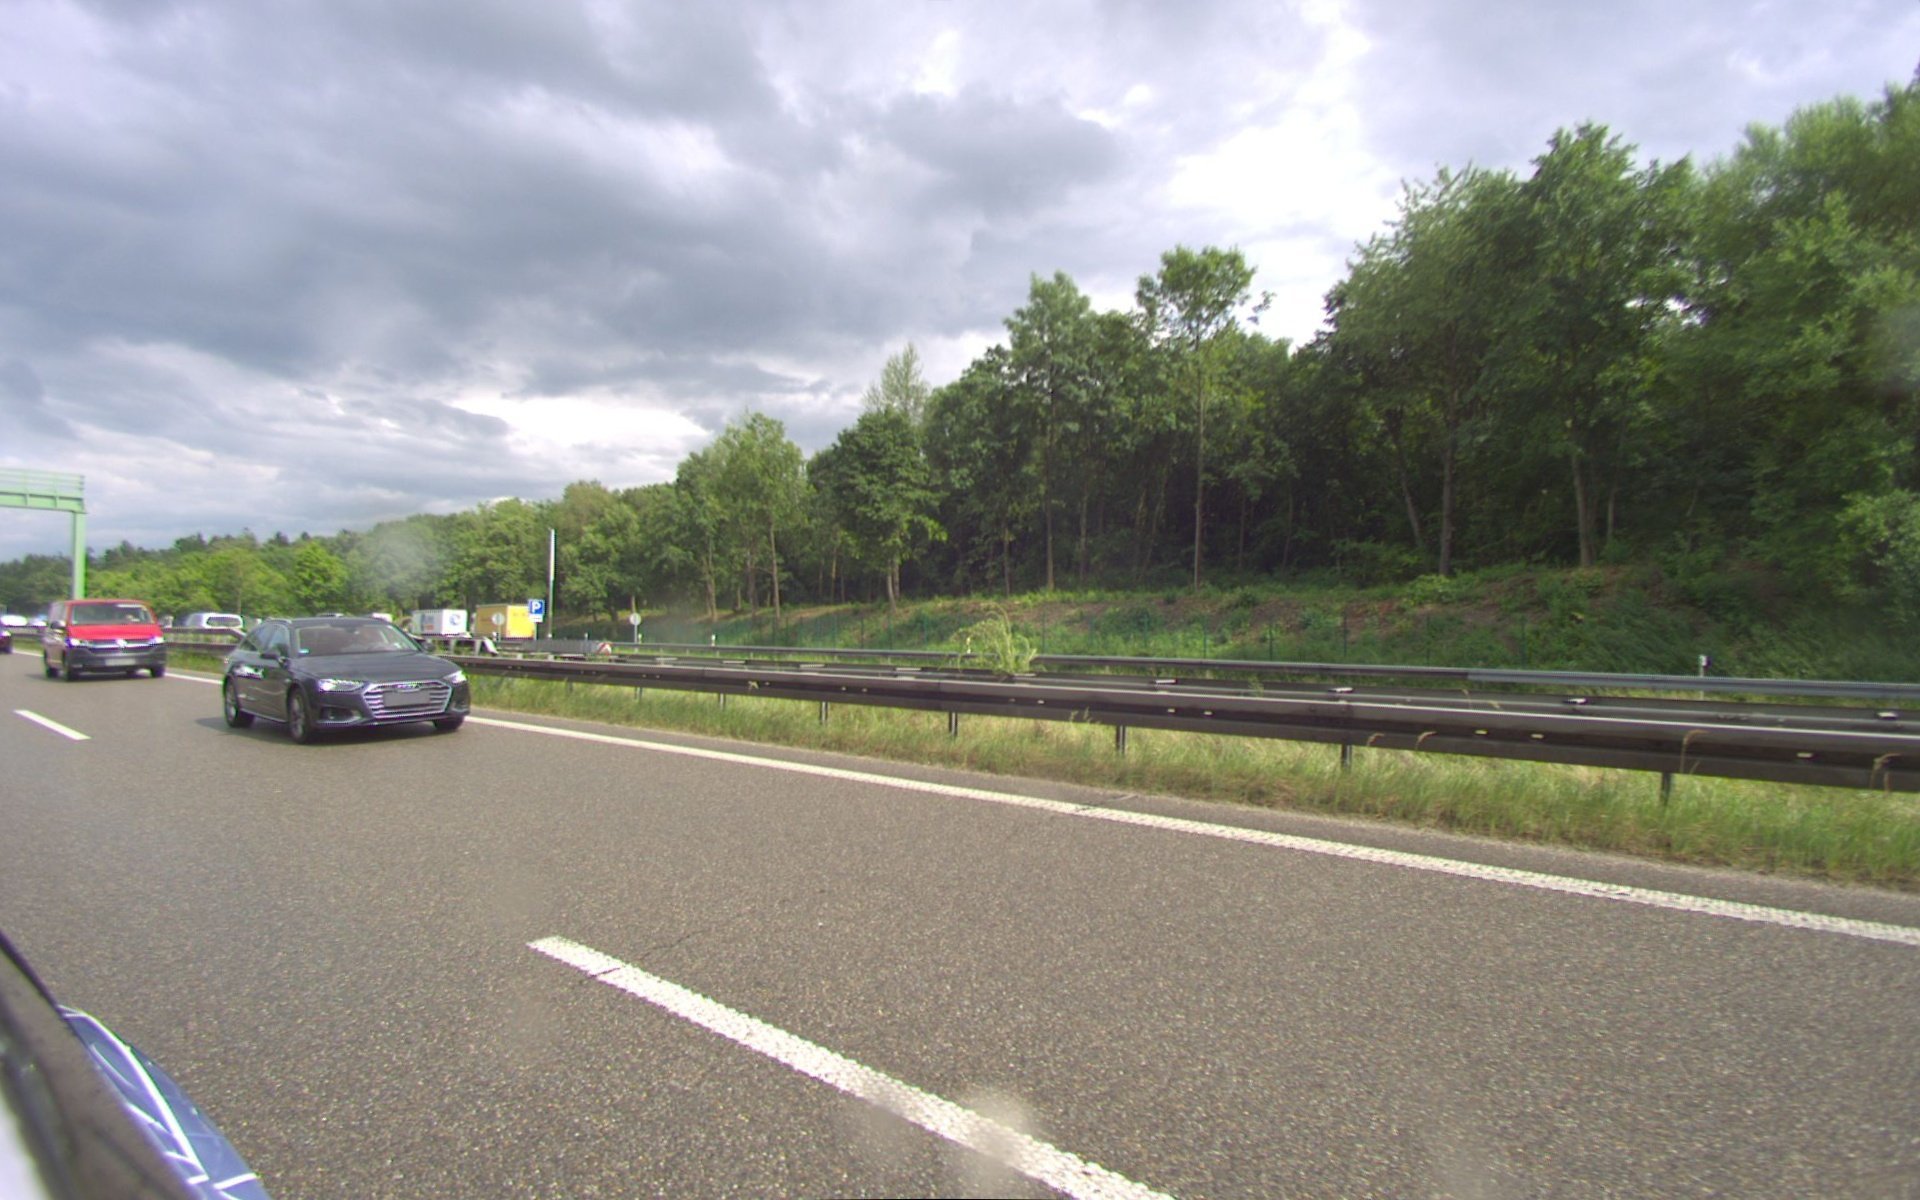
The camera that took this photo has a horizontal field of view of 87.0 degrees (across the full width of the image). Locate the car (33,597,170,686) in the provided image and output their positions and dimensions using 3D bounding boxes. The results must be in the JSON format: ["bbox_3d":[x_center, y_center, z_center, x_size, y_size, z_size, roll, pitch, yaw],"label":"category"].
[{"bbox_3d":[-21.236,0.975,24.960,4.747,2.000,1.871,-2,-1,41],"label":"car"}]

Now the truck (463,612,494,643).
[{"bbox_3d":[-50.534,2.850,106.173,1.950,3.121,5.087,-1,0,-37],"label":"truck"}]

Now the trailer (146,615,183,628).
[{"bbox_3d":[-164.432,4.433,209.154,9.839,2.594,2.511,-1,-1,30],"label":"trailer"}]

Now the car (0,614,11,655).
[{"bbox_3d":[-41.487,1.439,42.552,4.292,1.682,1.871,-1,-1,41],"label":"car"}]

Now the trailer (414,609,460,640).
[{"bbox_3d":[-64.036,2.998,123.812,2.156,3.627,11.734,2,-2,-41],"label":"trailer"}]

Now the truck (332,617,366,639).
[{"bbox_3d":[-92.641,4.232,153.469,5.596,3.208,3.009,-1,-2,43],"label":"truck"}]

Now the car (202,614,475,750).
[{"bbox_3d":[-8.037,0.923,12.905,4.465,1.422,1.701,-1,-1,41],"label":"car"}]

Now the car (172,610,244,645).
[{"bbox_3d":[-38.713,1.409,52.051,4.965,1.692,1.889,-1,-2,41],"label":"car"}]

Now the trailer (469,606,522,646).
[{"bbox_3d":[-46.165,2.483,100.278,1.967,3.723,13.688,-1,0,-37],"label":"trailer"}]

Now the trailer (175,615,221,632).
[{"bbox_3d":[-148.205,4.605,196.721,13.375,3.297,3.050,-1,-2,34],"label":"trailer"}]

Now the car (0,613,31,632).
[{"bbox_3d":[-96.811,2.279,103.589,4.617,1.848,1.973,-2,1,41],"label":"car"}]

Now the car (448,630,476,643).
[{"bbox_3d":[-56.601,4.118,115.023,1.871,1.514,4.005,2,-2,-41],"label":"car"}]

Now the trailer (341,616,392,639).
[{"bbox_3d":[-86.945,4.086,148.148,12.173,3.217,2.986,-1,-2,43],"label":"trailer"}]

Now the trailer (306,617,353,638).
[{"bbox_3d":[-100.331,4.331,160.896,12.640,3.296,2.577,-1,-3,41],"label":"trailer"}]

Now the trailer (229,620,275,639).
[{"bbox_3d":[-127.757,5.322,182.530,12.632,3.296,3.153,-1,-2,38],"label":"trailer"}]

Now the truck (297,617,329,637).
[{"bbox_3d":[-106.130,4.453,165.907,6.532,3.275,2.549,-1,-2,41],"label":"truck"}]
